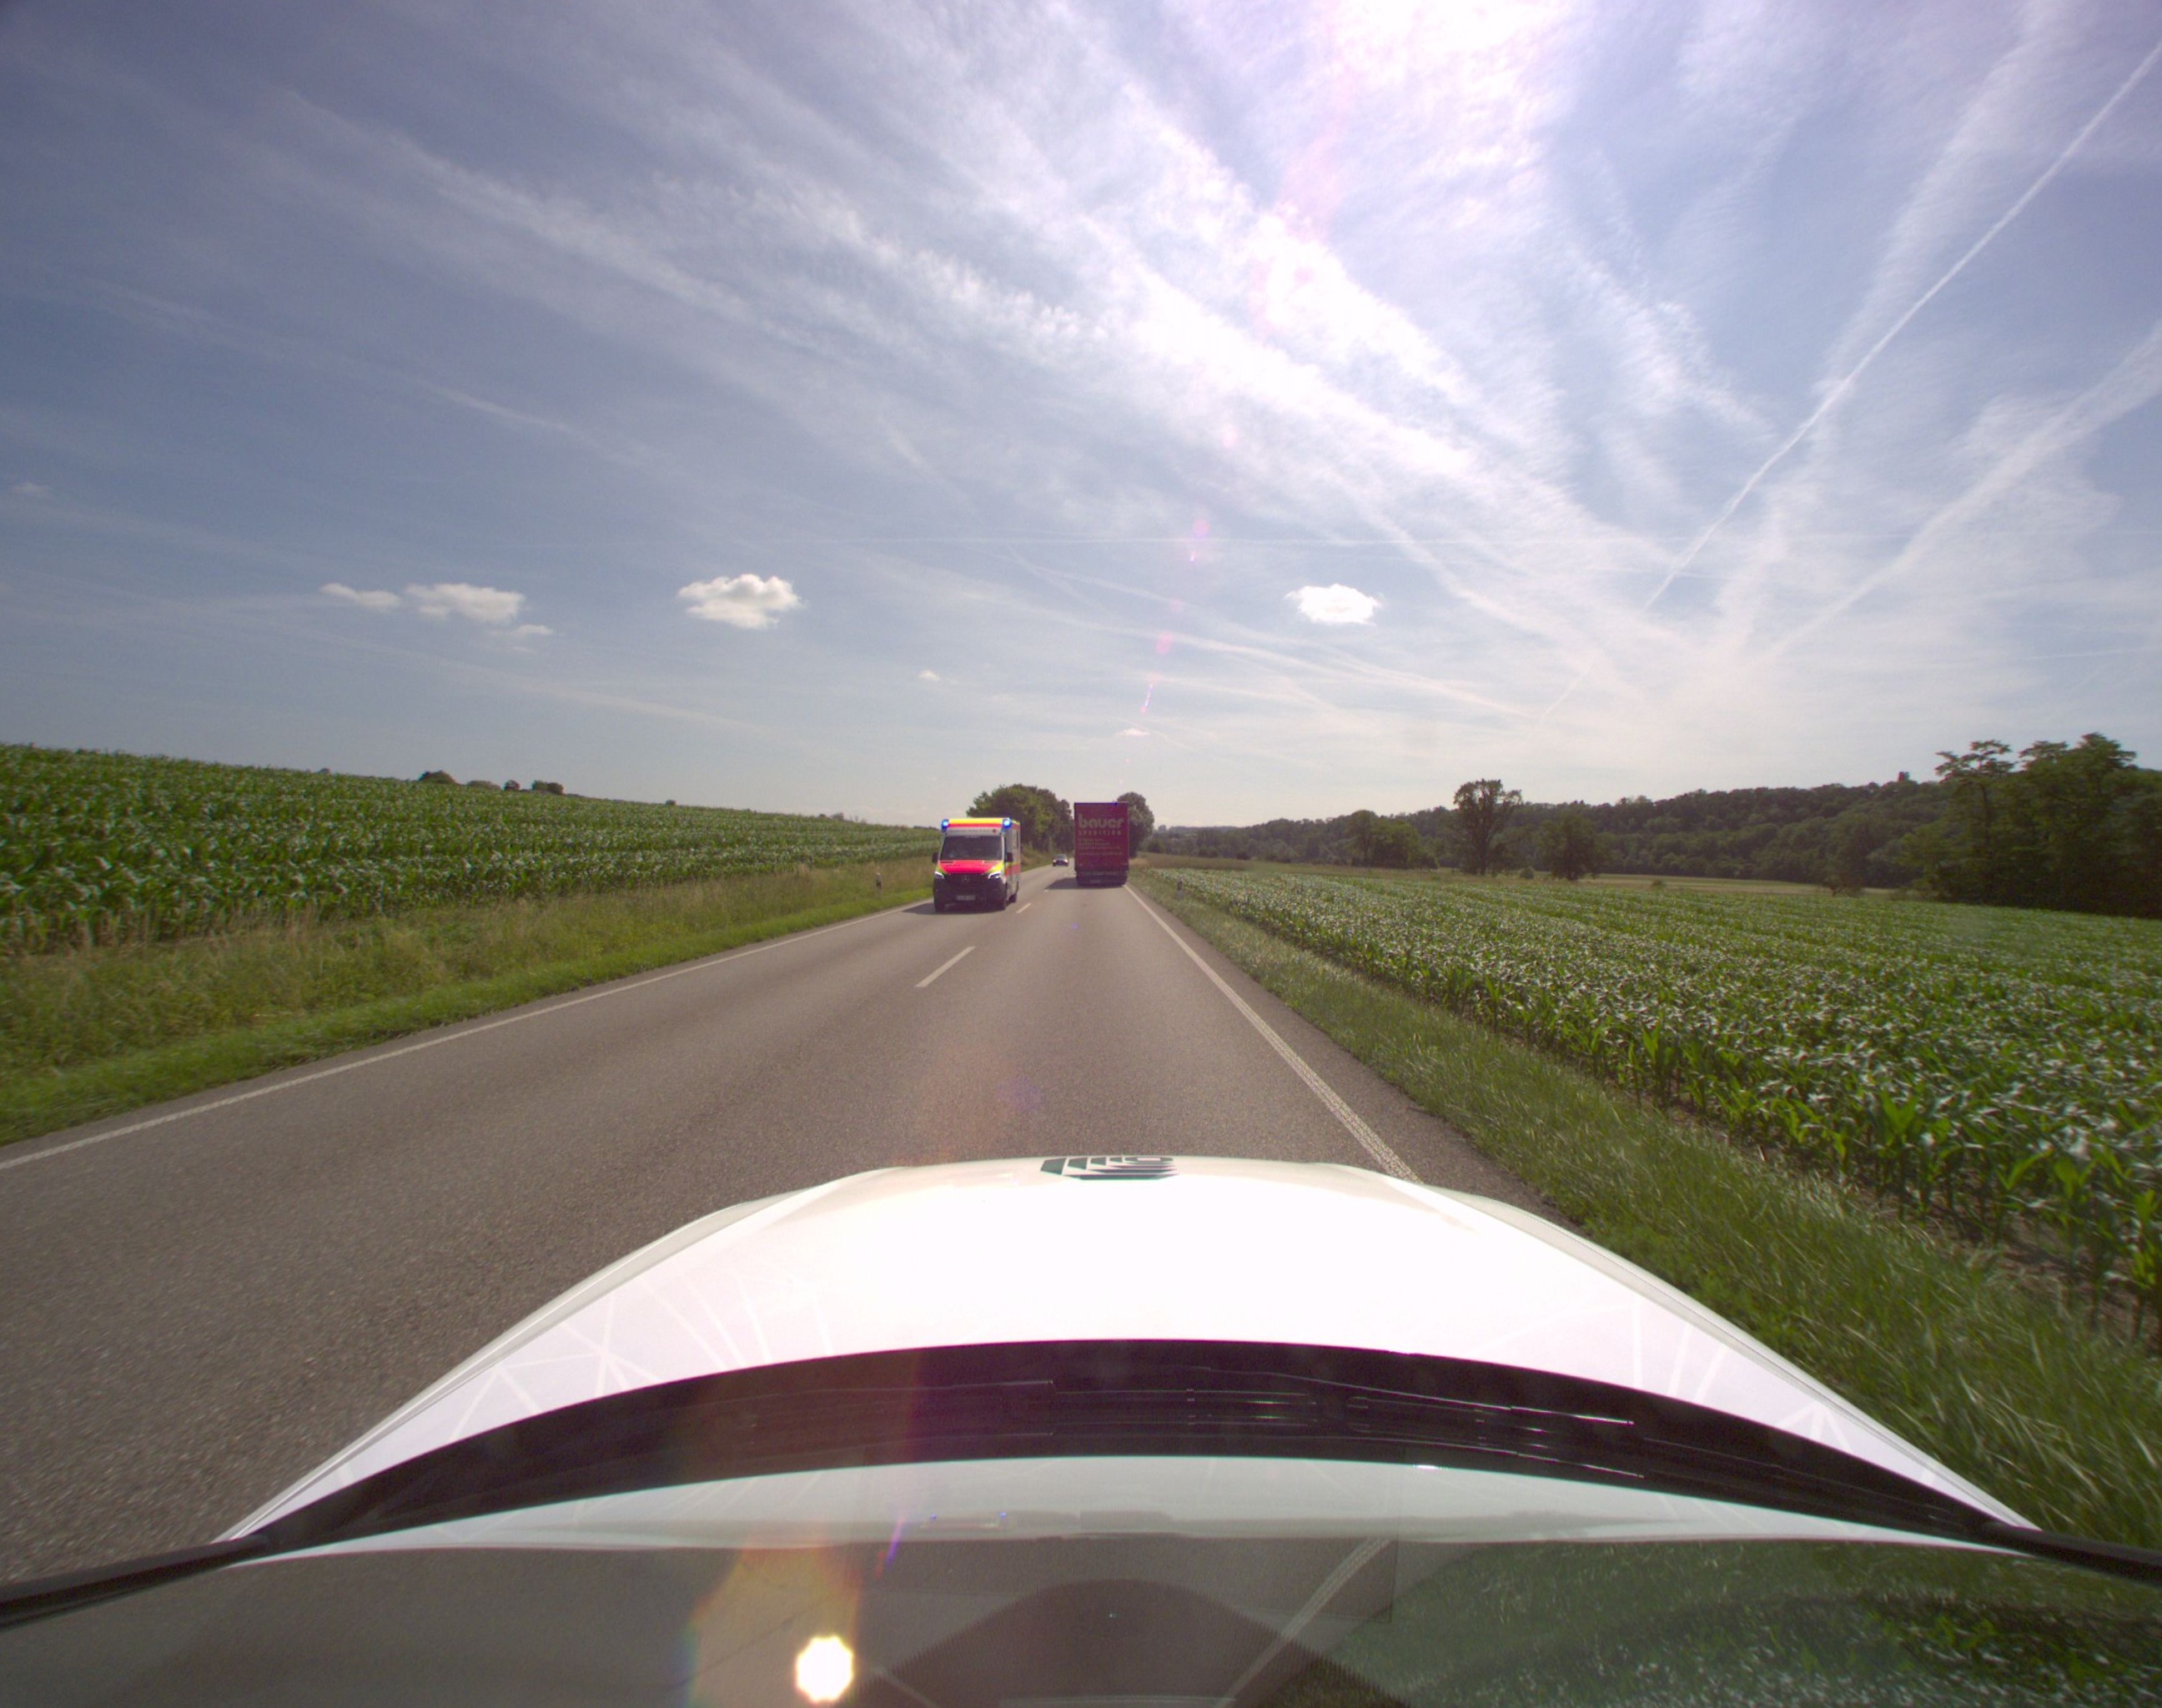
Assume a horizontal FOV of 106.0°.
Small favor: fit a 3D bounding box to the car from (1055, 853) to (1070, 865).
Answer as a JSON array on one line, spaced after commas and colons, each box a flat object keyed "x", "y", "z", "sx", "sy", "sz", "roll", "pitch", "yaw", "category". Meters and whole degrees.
[{"x": -2.299, "y": 0.636, "z": 100.388, "sx": 1.667, "sy": 1.457, "sz": 4.351, "roll": -1, "pitch": 0, "yaw": 1, "category": "car"}]

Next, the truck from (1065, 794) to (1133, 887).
[{"x": 1.040, "y": -0.572, "z": 41.875, "sx": 3.082, "sy": 4.263, "sz": 8.319, "roll": -1, "pitch": -1, "yaw": 3, "category": "truck"}]

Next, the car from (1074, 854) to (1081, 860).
[{"x": -0.754, "y": 0.803, "z": 202.852, "sx": 1.650, "sy": 1.534, "sz": 4.358, "roll": 1, "pitch": 0, "yaw": 1, "category": "car"}]

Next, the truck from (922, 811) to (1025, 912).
[{"x": -3.110, "y": 0.225, "z": 25.058, "sx": 2.200, "sy": 2.672, "sz": 6.417, "roll": -1, "pitch": 0, "yaw": 1, "category": "truck"}]
